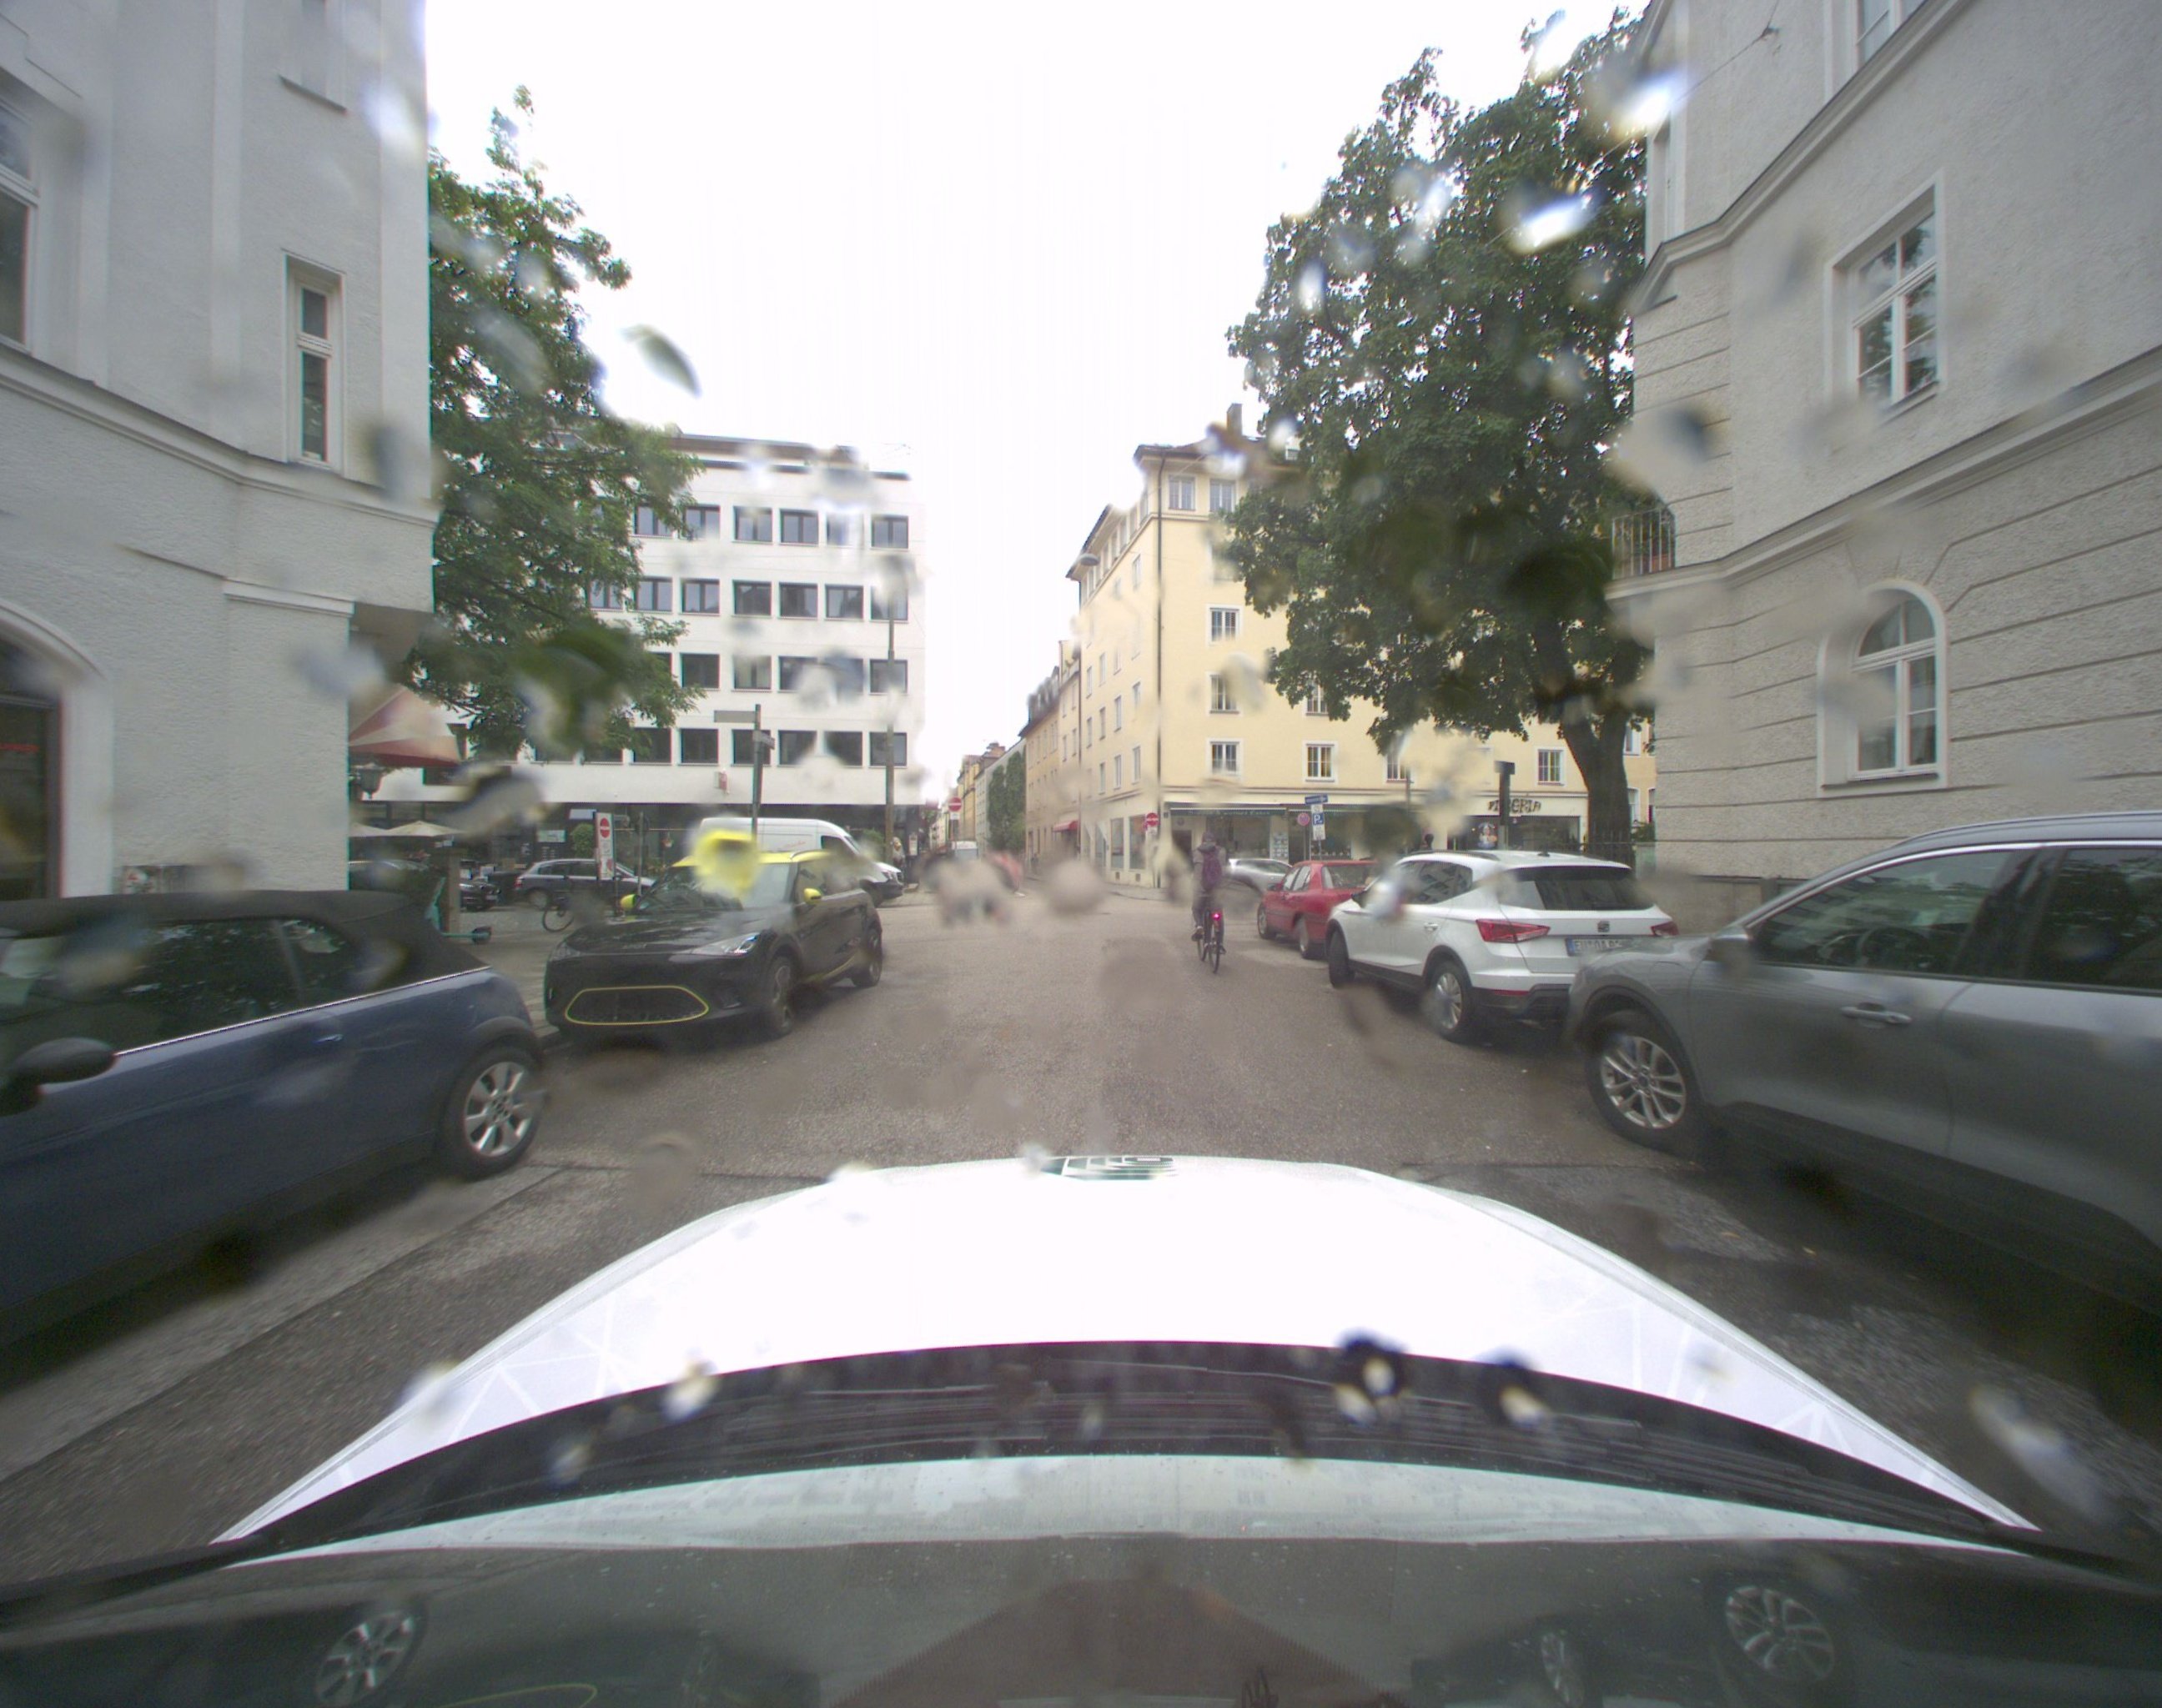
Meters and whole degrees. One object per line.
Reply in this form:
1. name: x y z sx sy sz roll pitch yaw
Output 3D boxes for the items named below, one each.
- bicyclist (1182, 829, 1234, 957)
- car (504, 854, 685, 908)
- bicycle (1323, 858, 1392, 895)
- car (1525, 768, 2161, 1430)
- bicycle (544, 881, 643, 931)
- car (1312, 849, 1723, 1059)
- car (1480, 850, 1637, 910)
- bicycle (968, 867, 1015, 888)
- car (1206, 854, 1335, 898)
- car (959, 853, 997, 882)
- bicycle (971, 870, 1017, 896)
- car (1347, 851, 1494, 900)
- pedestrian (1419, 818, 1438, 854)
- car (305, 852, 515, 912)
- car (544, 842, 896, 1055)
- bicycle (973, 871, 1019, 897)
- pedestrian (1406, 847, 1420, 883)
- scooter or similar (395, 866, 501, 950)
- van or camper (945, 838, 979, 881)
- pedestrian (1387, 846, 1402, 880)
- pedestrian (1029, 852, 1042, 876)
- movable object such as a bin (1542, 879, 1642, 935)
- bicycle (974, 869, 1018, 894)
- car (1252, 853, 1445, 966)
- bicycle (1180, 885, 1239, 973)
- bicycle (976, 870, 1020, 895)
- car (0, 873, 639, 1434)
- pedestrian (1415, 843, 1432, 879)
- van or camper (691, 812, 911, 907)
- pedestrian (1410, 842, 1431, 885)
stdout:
1. bicyclist: 1.640 0.483 10.625 0.603 1.606 0.758 -1 0 4
2. car: -13.784 0.768 23.323 4.055 1.429 1.792 0 -3 -12
3. bicycle: 10.009 0.802 29.555 2.081 1.253 1.103 1 1 -9
4. car: 3.683 0.623 2.909 1.784 1.713 4.425 -1 0 0
5. bicycle: -9.534 1.002 16.017 1.566 0.947 0.891 1 -2 -26
6. car: 3.706 0.711 7.810 1.746 1.496 3.906 0 0 -3
7. car: 12.653 0.651 21.668 3.318 1.487 1.624 0 1 -7
8. bicycle: -3.852 1.009 35.005 1.915 0.863 0.615 -1 0 -16
9. car: 6.290 0.761 27.353 3.971 1.416 1.821 0 -4 2
10. car: -5.788 0.741 45.479 1.833 1.535 3.985 0 0 -11
11. bicycle: -3.488 1.155 32.674 1.739 0.968 0.540 -1 0 -16
12. car: 11.491 0.742 27.669 4.335 1.592 1.814 0 -2 -10
13. pedestrian: 15.504 -0.792 36.363 0.552 1.575 0.576 1 0 -9
14. car: -18.493 0.755 22.623 4.121 1.544 1.795 0 -2 -7
15. car: -3.265 0.747 8.317 1.670 1.597 3.947 -2 0 2
16. bicycle: -3.349 1.159 32.042 1.758 0.968 0.592 -1 0 -16
17. pedestrian: 14.415 0.450 35.326 0.551 1.537 0.437 0 2 23
18. scooter or similar: -9.783 0.797 12.631 0.550 1.216 1.192 1 0 14
19. van or camper: -7.521 0.339 51.343 1.993 2.540 4.744 0 0 -10
20. pedestrian: 13.356 0.388 34.713 0.507 1.433 0.586 0 0 32
21. pedestrian: -3.356 0.733 59.792 0.878 1.778 0.771 0 0 -11
22. movable object such as a bin: 8.459 0.864 13.542 0.898 0.844 1.218 -1 0 -2
23. bicycle: -3.546 1.142 33.997 1.739 0.968 0.540 -1 0 -16
24. car: 3.916 0.724 12.693 1.663 1.435 4.213 0 0 0
25. bicycle: 1.649 0.936 10.655 0.636 1.004 1.576 -1 0 4
26. bicycle: -3.405 1.150 33.388 1.739 0.968 0.540 -1 0 -16
27. car: -3.628 0.841 2.862 1.699 1.390 4.004 -2 0 4
28. pedestrian: 15.041 0.306 35.730 0.435 1.551 0.530 0 0 -27
29. van or camper: -8.186 0.168 24.335 5.901 2.677 1.868 -1 -2 -8
30. pedestrian: 13.590 0.363 32.598 0.602 1.702 0.542 0 2 -8
